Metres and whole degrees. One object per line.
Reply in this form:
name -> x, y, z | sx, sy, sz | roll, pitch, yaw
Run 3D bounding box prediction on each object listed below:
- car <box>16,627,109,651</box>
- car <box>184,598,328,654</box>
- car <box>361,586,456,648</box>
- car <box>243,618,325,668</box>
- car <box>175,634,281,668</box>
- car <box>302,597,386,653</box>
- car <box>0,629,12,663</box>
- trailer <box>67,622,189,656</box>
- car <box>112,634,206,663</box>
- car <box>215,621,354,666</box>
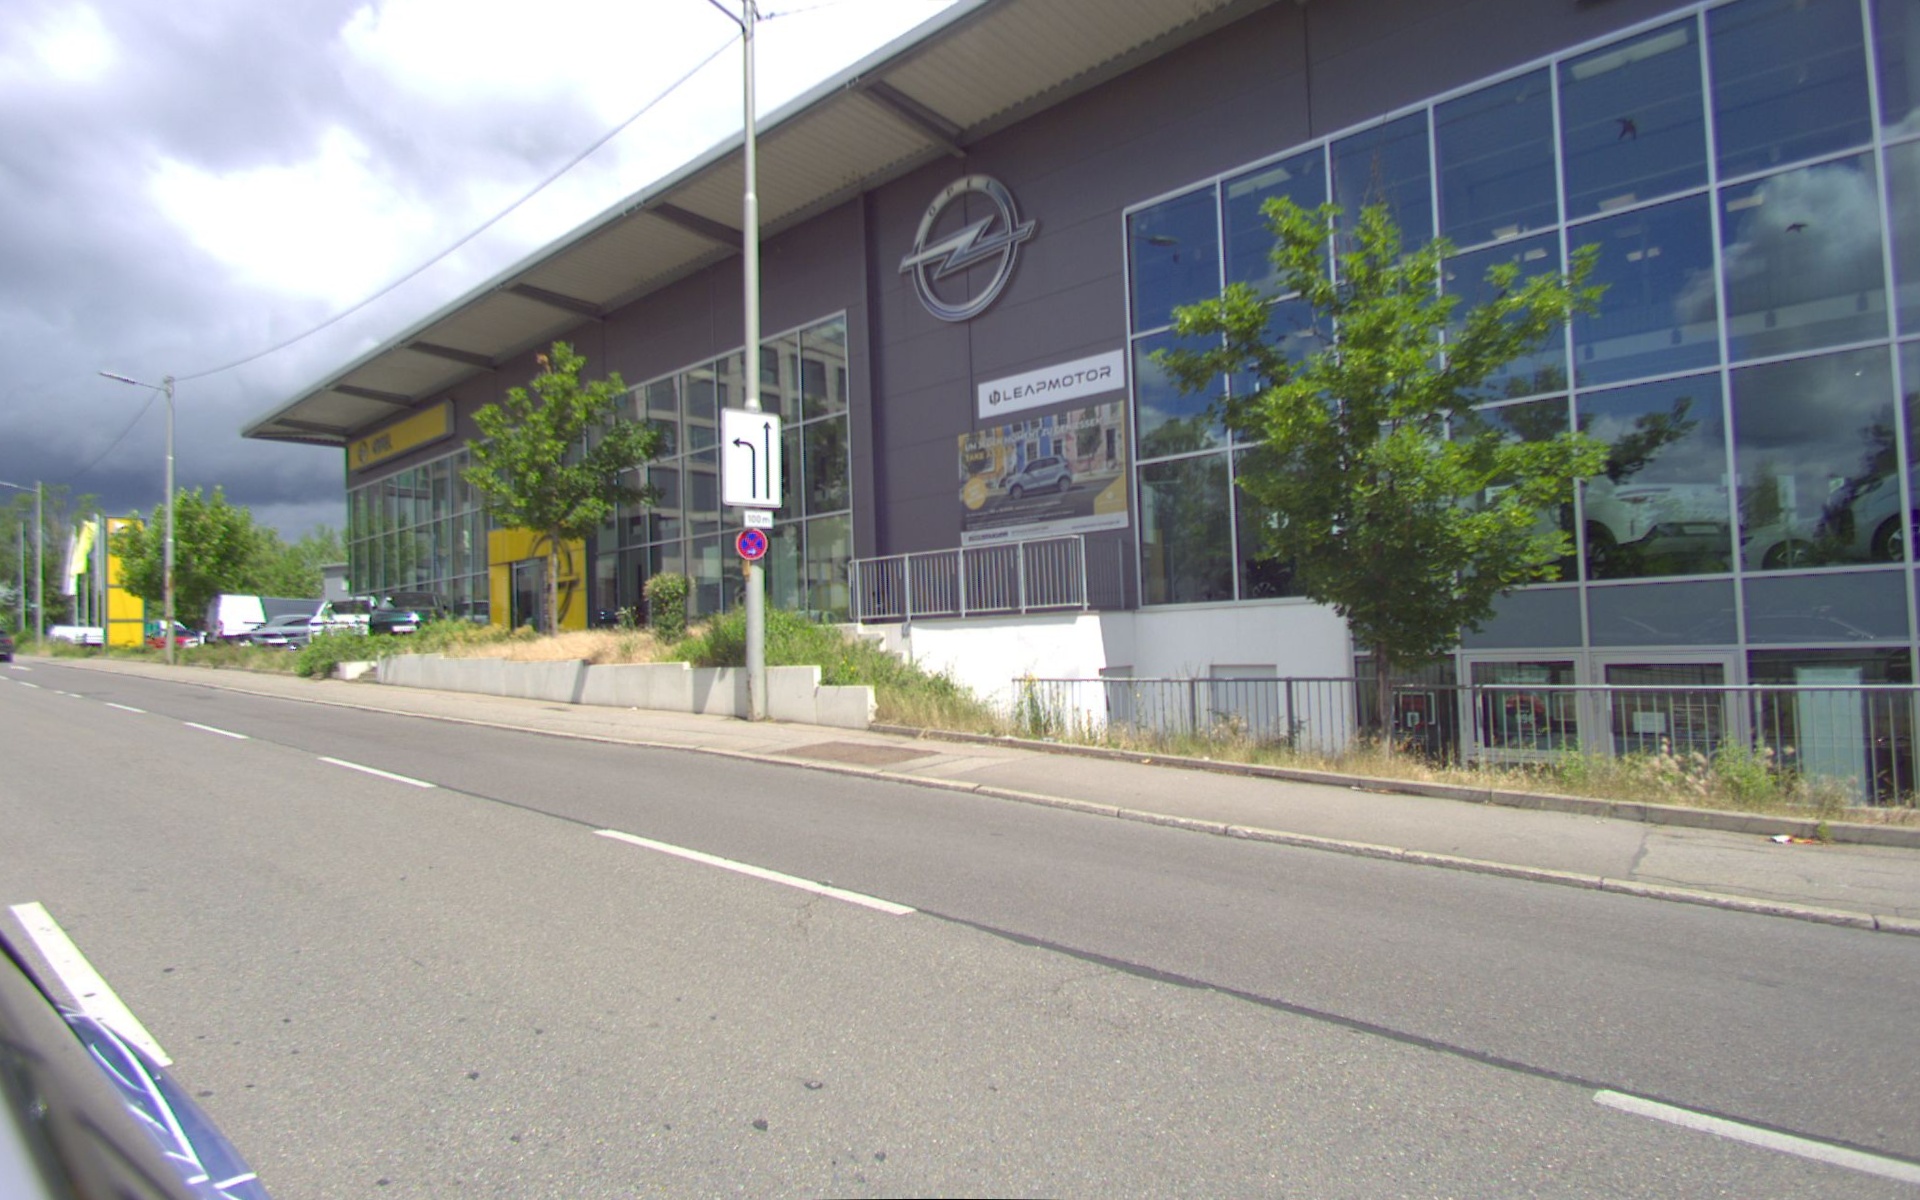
car -> -57.642, 2.460, 65.038 | 2.093, 1.493, 4.200 | -2, -2, 38
car -> -29.193, 1.062, 42.062 | 2.177, 2.211, 4.475 | -1, -1, 39
car -> -15.484, 0.526, 28.615 | 1.790, 1.625, 4.122 | 1, -2, -21
car -> -23.386, 1.460, 35.144 | 1.767, 1.625, 4.122 | 1, -2, -26
car -> -35.525, 2.447, 49.172 | 1.559, 1.539, 3.897 | -2, -2, 38
car -> -19.230, 0.763, 31.751 | 1.767, 1.625, 4.122 | 0, -1, -25
car -> -45.743, 2.164, 47.406 | 3.959, 1.533, 1.739 | -1, -2, 44
trailer -> -45.323, 2.101, 55.236 | 2.092, 1.765, 4.776 | -2, -2, 37
car -> -42.018, 2.527, 53.108 | 1.814, 1.420, 3.621 | -2, -2, 42
car -> -25.731, 1.641, 38.683 | 1.792, 1.625, 4.064 | -2, -2, 32
